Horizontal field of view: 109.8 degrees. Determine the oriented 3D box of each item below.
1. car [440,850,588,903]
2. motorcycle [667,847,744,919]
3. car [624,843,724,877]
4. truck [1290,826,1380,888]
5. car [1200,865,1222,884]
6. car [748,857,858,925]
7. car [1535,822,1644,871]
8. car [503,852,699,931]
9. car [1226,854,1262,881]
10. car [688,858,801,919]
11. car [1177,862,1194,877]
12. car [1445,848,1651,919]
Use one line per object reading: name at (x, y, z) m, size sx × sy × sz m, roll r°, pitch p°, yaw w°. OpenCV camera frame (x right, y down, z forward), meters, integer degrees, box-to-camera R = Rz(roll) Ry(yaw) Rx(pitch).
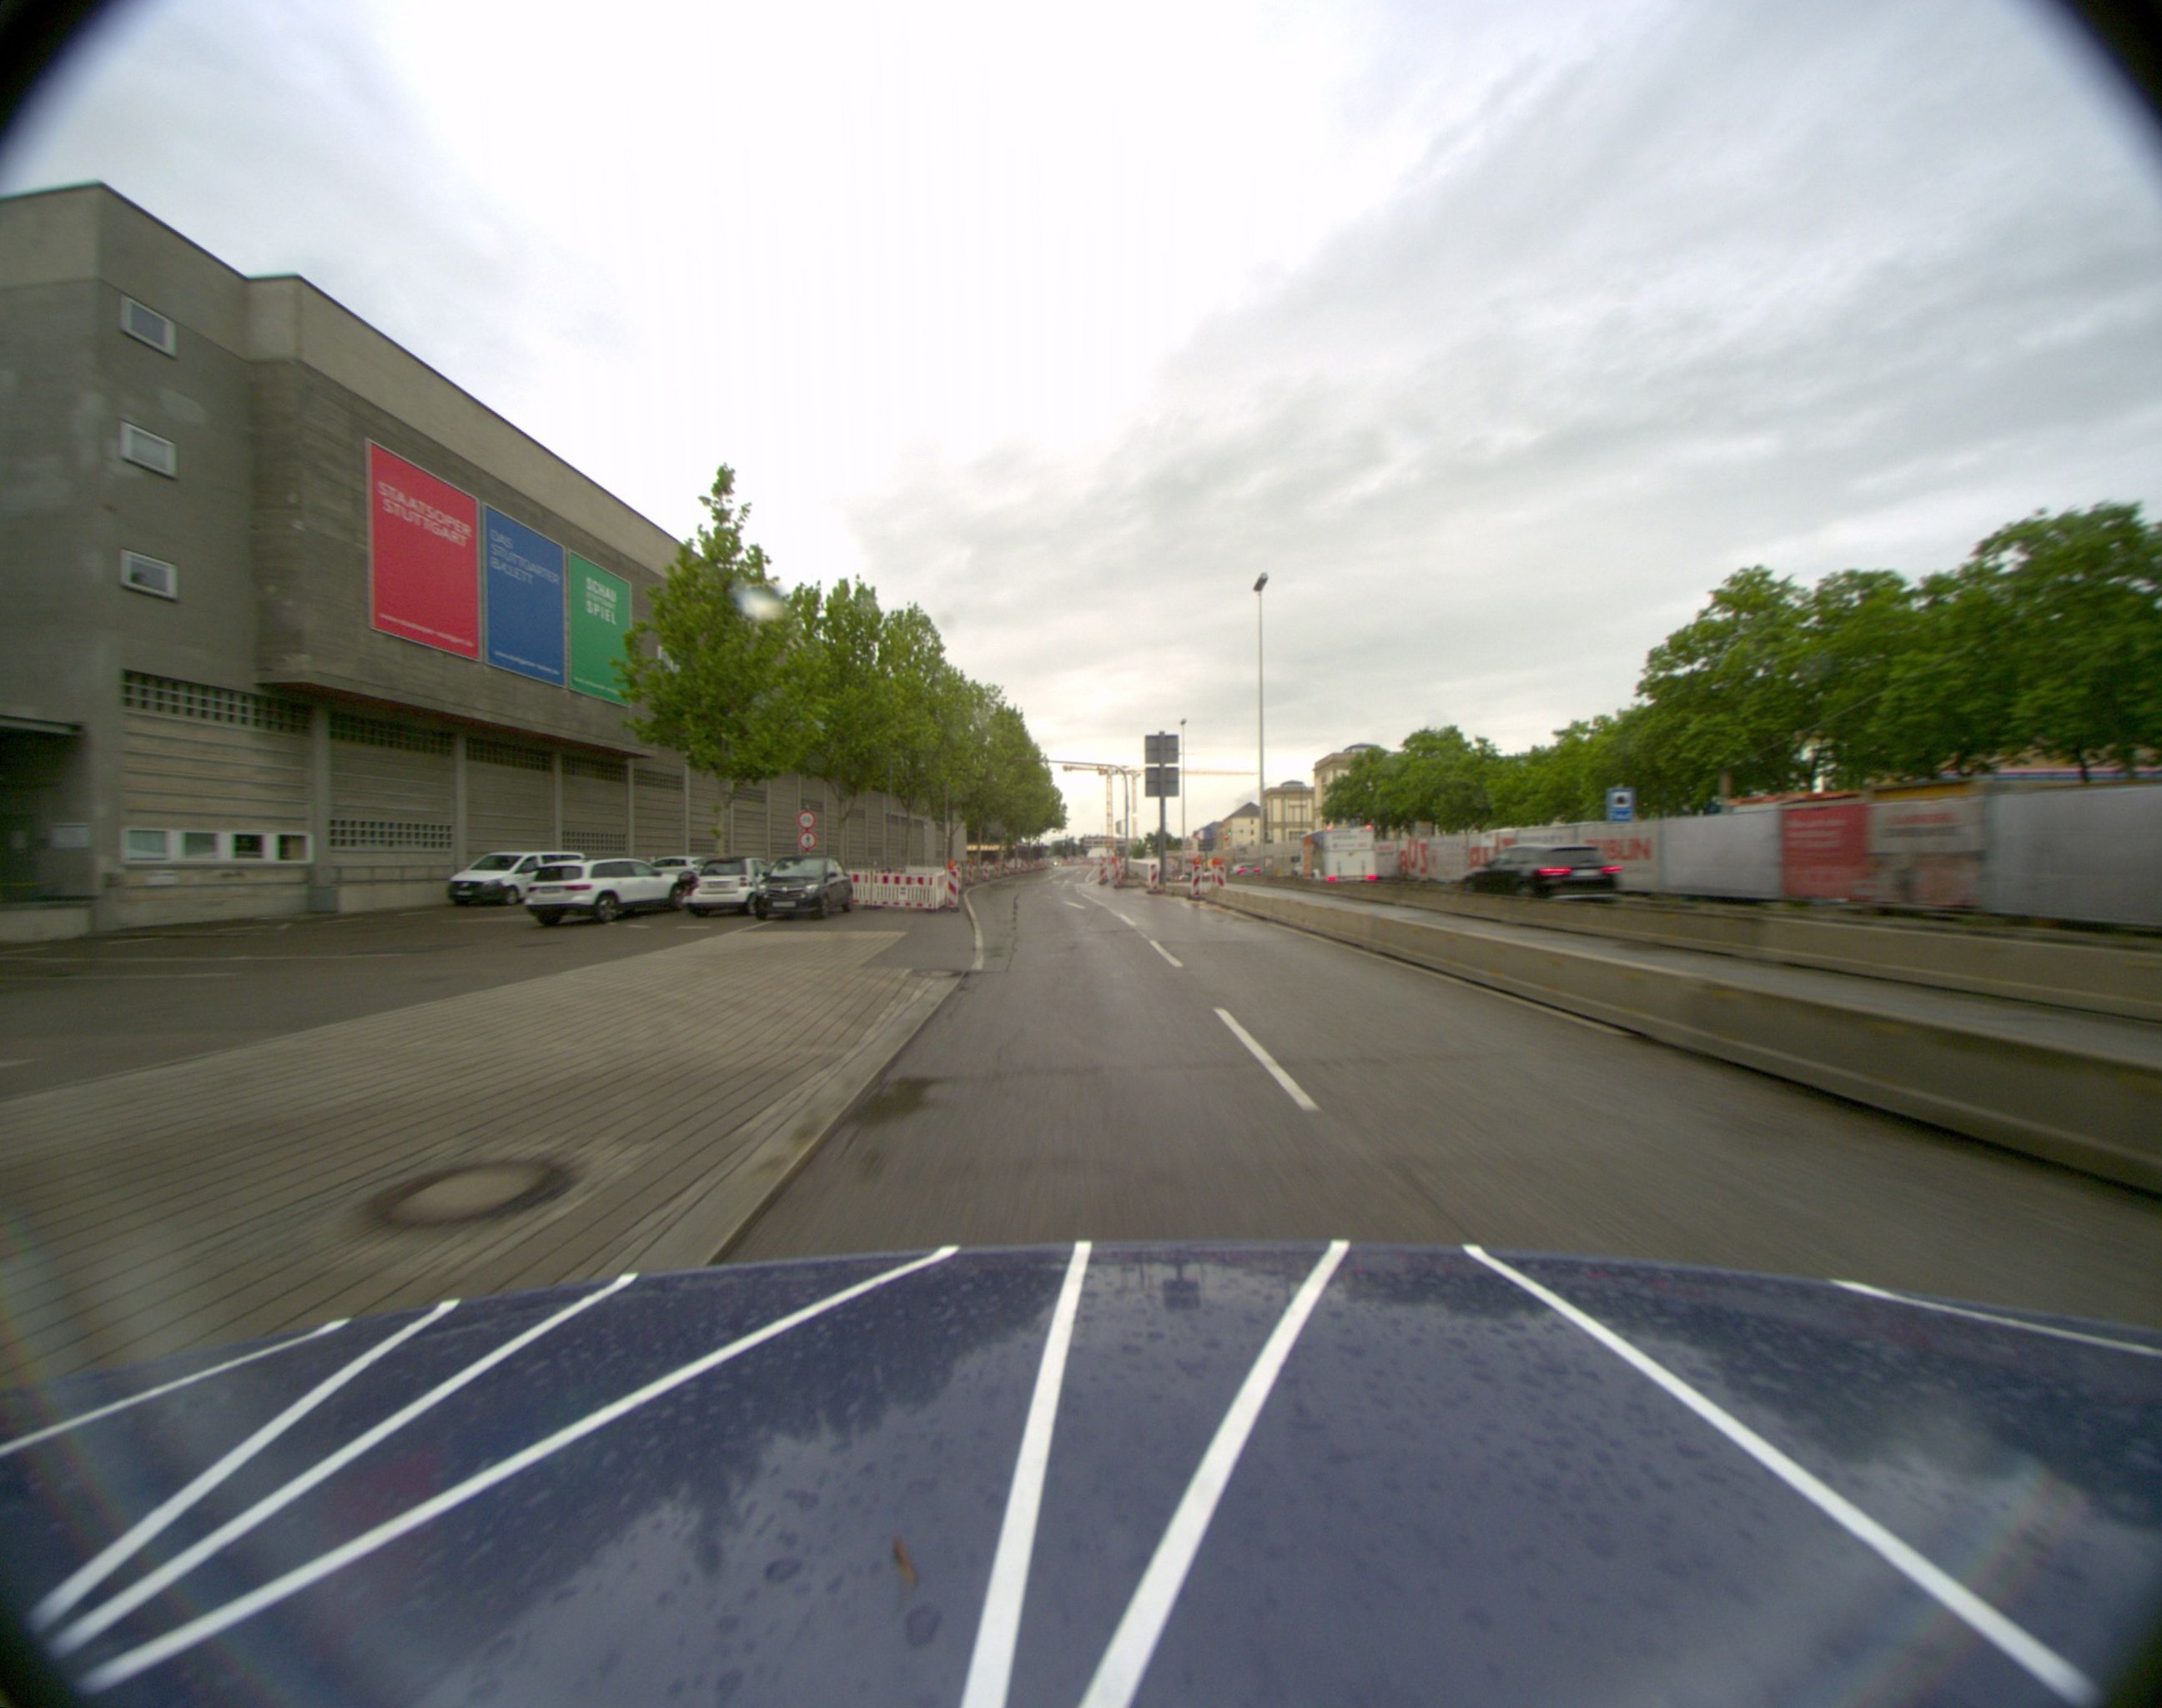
car at (-20.813, 0.762, 28.219) m, size 1.777 × 1.777 × 4.884 m, roll 0°, pitch 0°, yaw 1°
motorcycle at (-10.729, 0.773, 21.857) m, size 0.750 × 1.893 × 2.590 m, roll -3°, pitch 1°, yaw 2°
car at (-19.366, 0.283, 36.247) m, size 3.846 × 1.570 × 1.779 m, roll 0°, pitch 1°, yaw 2°
truck at (12.091, 0.154, 36.885) m, size 2.403 × 2.703 × 7.357 m, roll -1°, pitch 0°, yaw 4°
car at (13.936, 2.192, 81.589) m, size 1.704 × 1.857 × 3.357 m, roll 0°, pitch 0°, yaw 0°
car at (-7.035, 0.878, 19.594) m, size 1.692 × 1.486 × 3.619 m, roll -1°, pitch 1°, yaw -4°
car at (22.667, -0.308, 34.114) m, size 1.998 × 2.002 × 4.718 m, roll 0°, pitch 0°, yaw 4°
car at (-12.854, 0.914, 20.785) m, size 1.958 × 1.674 × 4.493 m, roll -2°, pitch 2°, yaw 8°
car at (13.083, 1.079, 61.161) m, size 1.913 × 2.002 × 4.758 m, roll 1°, pitch 1°, yaw 0°
car at (-9.238, 0.904, 21.125) m, size 1.584 × 1.528 × 3.022 m, roll 0°, pitch 1°, yaw 5°
car at (14.415, 2.147, 104.780) m, size 1.902 × 2.002 × 4.000 m, roll 0°, pitch 0°, yaw 2°
car at (11.298, 0.659, 18.877) m, size 1.926 × 1.521 × 4.759 m, roll -1°, pitch 0°, yaw -4°
